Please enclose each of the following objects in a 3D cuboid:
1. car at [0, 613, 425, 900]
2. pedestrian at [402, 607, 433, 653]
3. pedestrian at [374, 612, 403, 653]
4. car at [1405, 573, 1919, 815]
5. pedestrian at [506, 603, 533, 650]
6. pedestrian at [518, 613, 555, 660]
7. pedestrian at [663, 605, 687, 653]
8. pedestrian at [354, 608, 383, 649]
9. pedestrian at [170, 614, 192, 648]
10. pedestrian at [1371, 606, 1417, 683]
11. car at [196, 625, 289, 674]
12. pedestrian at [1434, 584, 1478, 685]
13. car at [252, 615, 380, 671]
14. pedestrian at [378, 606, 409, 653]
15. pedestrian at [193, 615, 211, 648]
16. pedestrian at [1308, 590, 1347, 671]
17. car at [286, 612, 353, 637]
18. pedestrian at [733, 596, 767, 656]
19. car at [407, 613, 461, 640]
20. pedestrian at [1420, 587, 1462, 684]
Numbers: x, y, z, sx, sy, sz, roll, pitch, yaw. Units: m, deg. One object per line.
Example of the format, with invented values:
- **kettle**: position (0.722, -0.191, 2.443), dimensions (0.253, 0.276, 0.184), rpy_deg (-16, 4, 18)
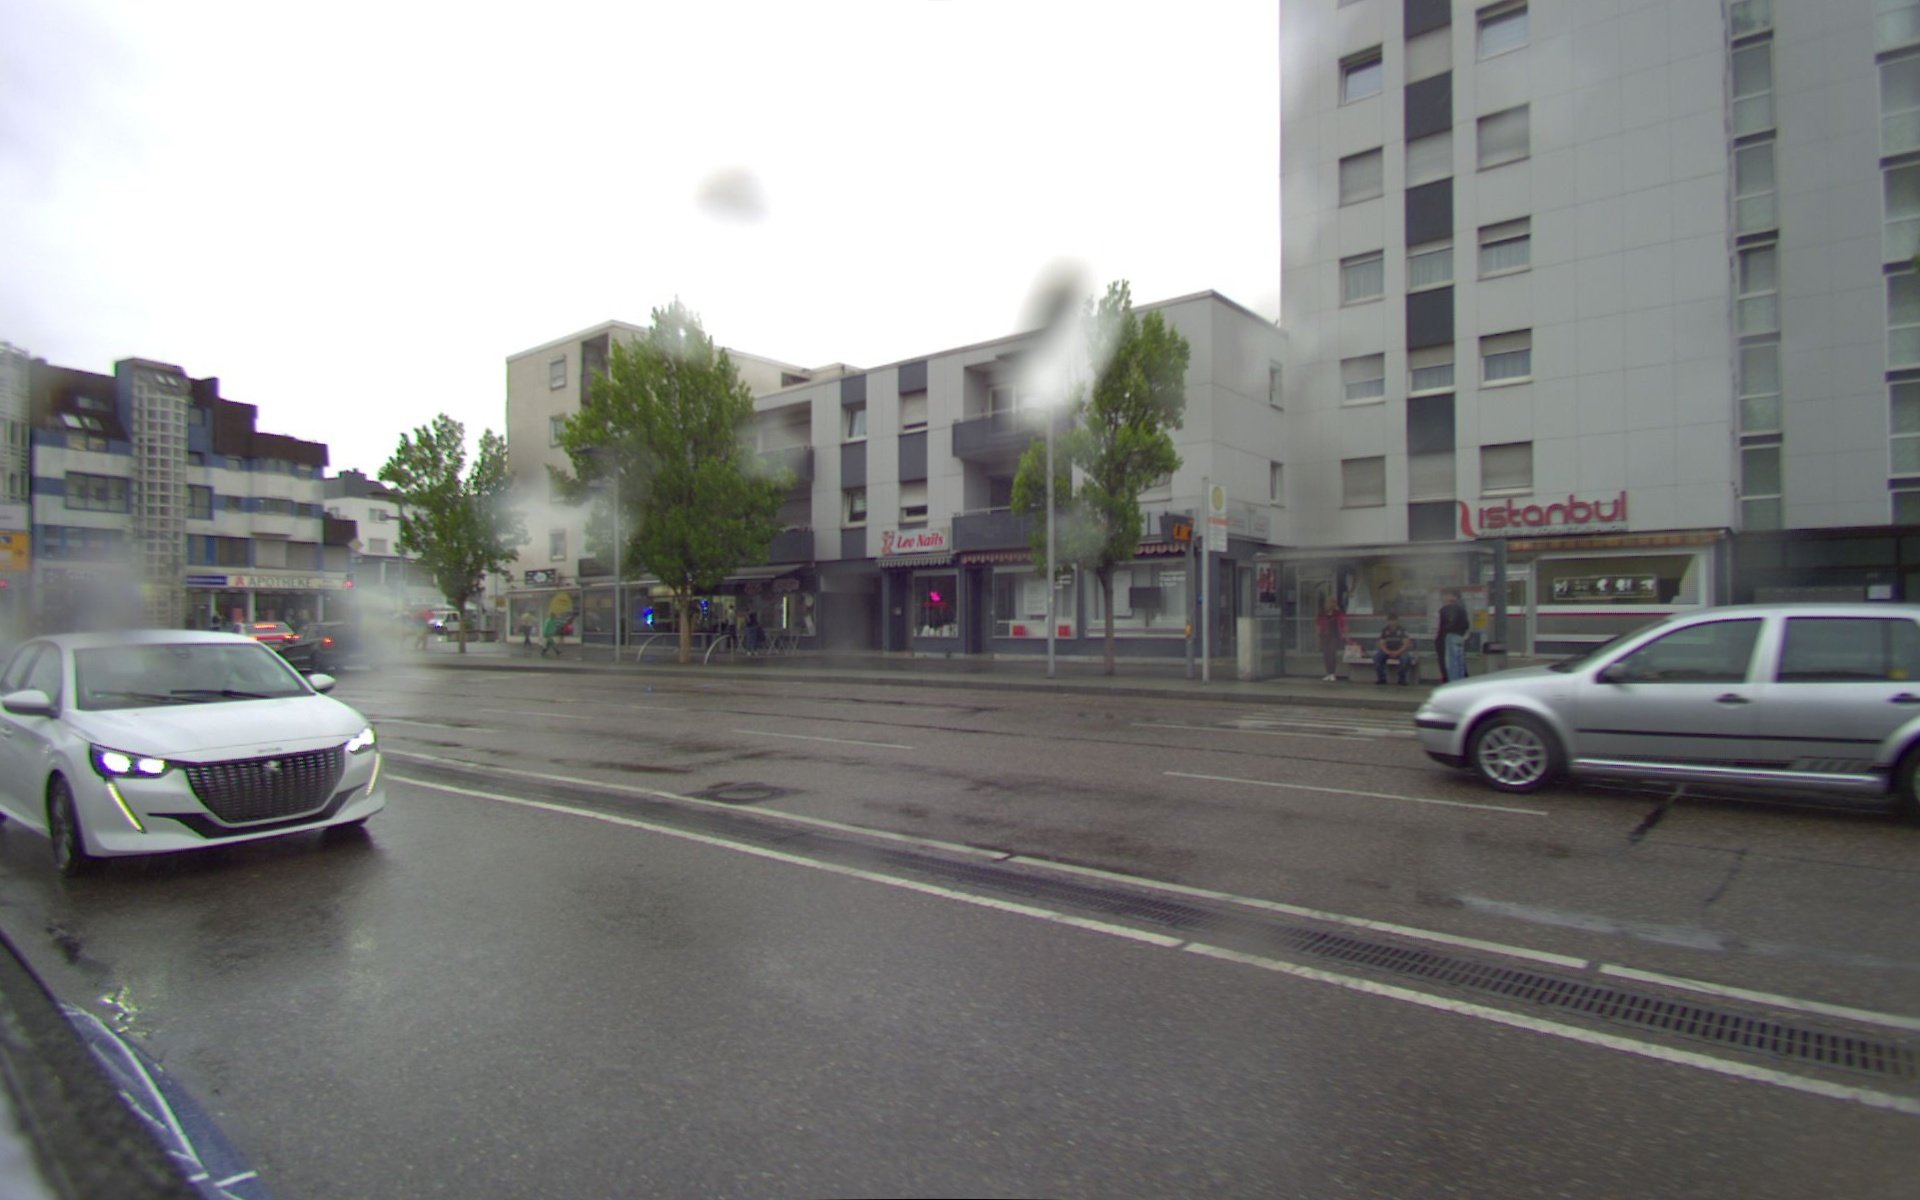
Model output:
- **car**: position (-5.717, 0.874, 7.195), dimensions (3.864, 1.473, 1.855), rpy_deg (-2, -1, 36)
- **pedestrian**: position (-24.672, 1.365, 46.032), dimensions (0.976, 2.029, 0.894), rpy_deg (-2, -2, 38)
- **pedestrian**: position (-27.772, 1.581, 49.190), dimensions (0.976, 1.929, 0.894), rpy_deg (-2, -2, 38)
- **car**: position (5.654, 0.608, 7.407), dimensions (4.099, 1.477, 1.683), rpy_deg (-2, -2, 39)
- **pedestrian**: position (-19.109, 1.139, 43.912), dimensions (0.863, 2.029, 0.751), rpy_deg (-2, -2, 38)
- **pedestrian**: position (-15.508, 1.318, 37.041), dimensions (0.726, 1.658, 0.997), rpy_deg (-2, -1, 38)
- **pedestrian**: position (-10.689, 1.085, 37.968), dimensions (0.680, 1.763, 0.542), rpy_deg (-2, -2, 41)
- **pedestrian**: position (-28.305, 1.365, 48.403), dimensions (0.976, 1.929, 0.894), rpy_deg (-2, -2, 38)
- **pedestrian**: position (-40.655, 1.597, 52.803), dimensions (0.585, 1.756, 0.827), rpy_deg (-1, 0, 45)
- **pedestrian**: position (7.868, 0.792, 18.357), dimensions (0.529, 1.363, 0.579), rpy_deg (0, -1, -45)
- **car**: position (-23.395, 1.544, 32.915), dimensions (1.737, 1.438, 4.891), rpy_deg (-1, -1, -44)
- **pedestrian**: position (8.381, 0.583, 17.102), dimensions (0.536, 1.672, 0.473), rpy_deg (-2, -1, 40)
- **car**: position (-18.046, 1.215, 28.298), dimensions (3.993, 1.438, 1.741), rpy_deg (-3, -2, 37)
- **pedestrian**: position (-25.325, 1.316, 45.242), dimensions (0.976, 2.029, 0.894), rpy_deg (-2, -2, 38)
- **pedestrian**: position (-40.643, 1.673, 54.273), dimensions (0.672, 1.756, 0.587), rpy_deg (-1, 0, -25)
- **pedestrian**: position (7.001, 0.587, 19.291), dimensions (0.610, 1.516, 0.534), rpy_deg (-1, -1, 16)
- **car**: position (-46.169, 1.766, 73.037), dimensions (1.735, 1.733, 3.868), rpy_deg (-1, -1, 21)
- **pedestrian**: position (-7.305, 0.899, 35.217), dimensions (0.864, 2.029, 0.750), rpy_deg (-2, -2, 42)
- **car**: position (-42.294, 2.097, 81.446), dimensions (1.972, 2.029, 4.598), rpy_deg (-1, -1, -1)
- **pedestrian**: position (8.450, 0.618, 17.780), dimensions (0.529, 1.672, 0.480), rpy_deg (0, -1, -45)
